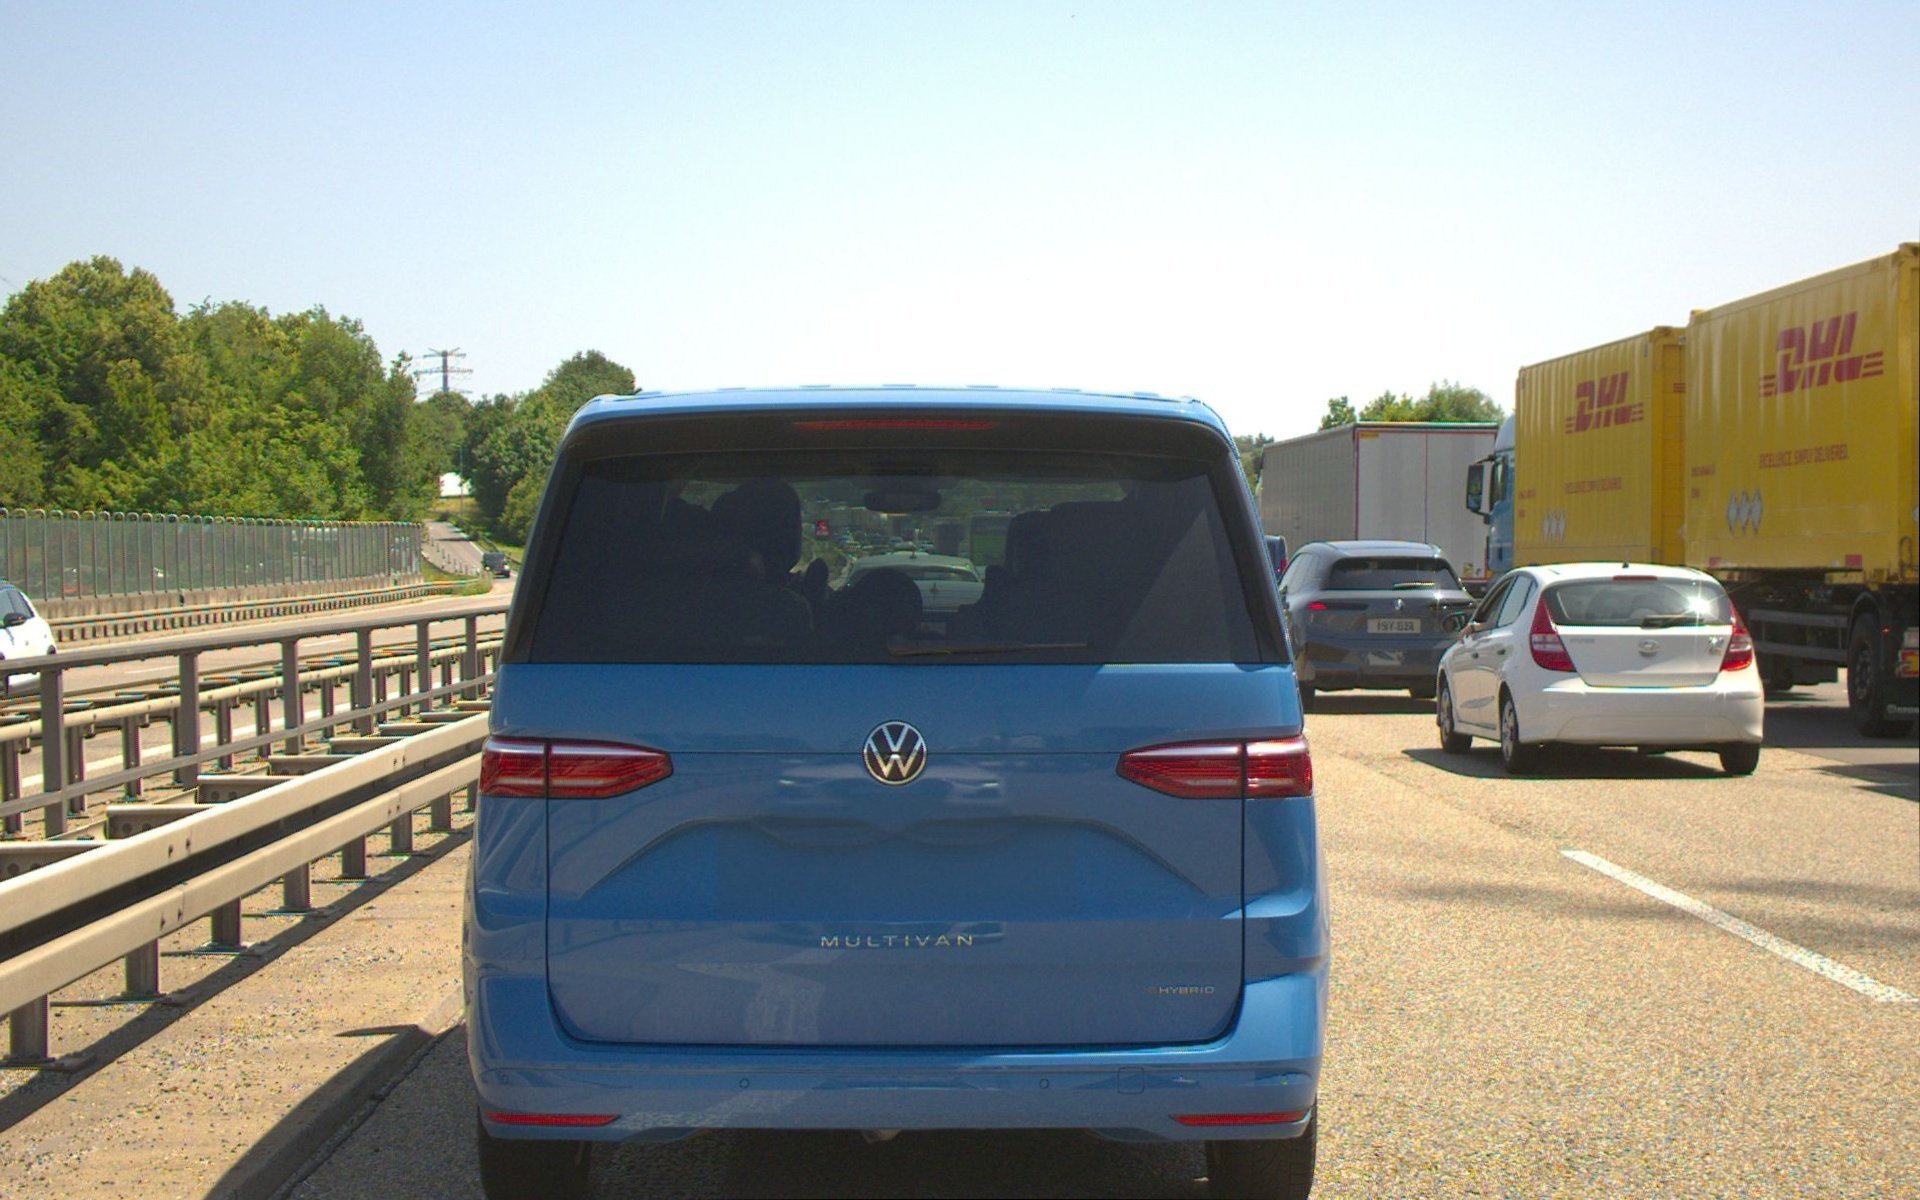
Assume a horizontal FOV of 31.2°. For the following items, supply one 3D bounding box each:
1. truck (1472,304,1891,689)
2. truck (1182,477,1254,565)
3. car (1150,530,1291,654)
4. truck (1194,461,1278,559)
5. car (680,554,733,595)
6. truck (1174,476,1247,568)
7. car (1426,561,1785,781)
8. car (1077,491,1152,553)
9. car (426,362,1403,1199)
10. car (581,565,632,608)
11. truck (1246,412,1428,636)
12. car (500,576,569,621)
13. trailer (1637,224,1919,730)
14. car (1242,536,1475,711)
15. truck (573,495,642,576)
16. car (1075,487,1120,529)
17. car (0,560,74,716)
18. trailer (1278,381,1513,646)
[{"bbox_3d":[8.444,-1.124,41.676,2.699,4.074,9.940,1,0,-1],"label":"truck"},{"bbox_3d":[7.820,-2.376,104.464,1.797,2.587,4.305,1,0,0],"label":"truck"},{"bbox_3d":[4.252,-0.134,56.596,1.962,1.929,3.932,1,0,0],"label":"car"},{"bbox_3d":[7.252,-2.343,90.553,1.798,2.441,4.504,1,0,0],"label":"truck"},{"bbox_3d":[-10.767,-1.080,146.223,1.871,1.524,3.609,-6,1,-1],"label":"car"},{"bbox_3d":[7.197,-2.215,99.139,1.742,2.540,4.210,1,0,0],"label":"truck"},{"bbox_3d":[4.630,0.471,25.205,1.815,1.465,3.932,1,0,-1],"label":"car"},{"bbox_3d":[4.440,-2.238,99.417,1.919,1.700,4.000,1,0,0],"label":"car"},{"bbox_3d":[-0.108,0.464,8.877,1.930,1.867,4.000,1,0,0],"label":"car"},{"bbox_3d":[-15.482,-0.580,150.706,1.839,1.816,4.748,-1,0,-1],"label":"car"},{"bbox_3d":[8.130,-1.584,75.076,3.026,4.595,7.921,1,0,0],"label":"truck"},{"bbox_3d":[-14.772,-0.068,119.416,1.871,1.437,4.385,-2,0,-1],"label":"car"},{"bbox_3d":[8.731,-0.996,32.235,2.682,4.074,8.981,1,0,-2],"label":"trailer"},{"bbox_3d":[4.017,0.217,35.235,1.815,1.673,3.932,1,0,-2],"label":"car"},{"bbox_3d":[-19.782,-3.577,193.173,2.929,4.279,6.858,-3,0,1],"label":"truck"},{"bbox_3d":[6.094,-4.079,152.806,1.797,1.745,3.943,1,0,0],"label":"car"},{"bbox_3d":[-11.033,0.430,37.362,1.806,1.634,4.000,-2,0,-2],"label":"car"},{"bbox_3d":[8.137,-1.532,65.653,3.026,4.595,10.925,1,0,0],"label":"trailer"}]
